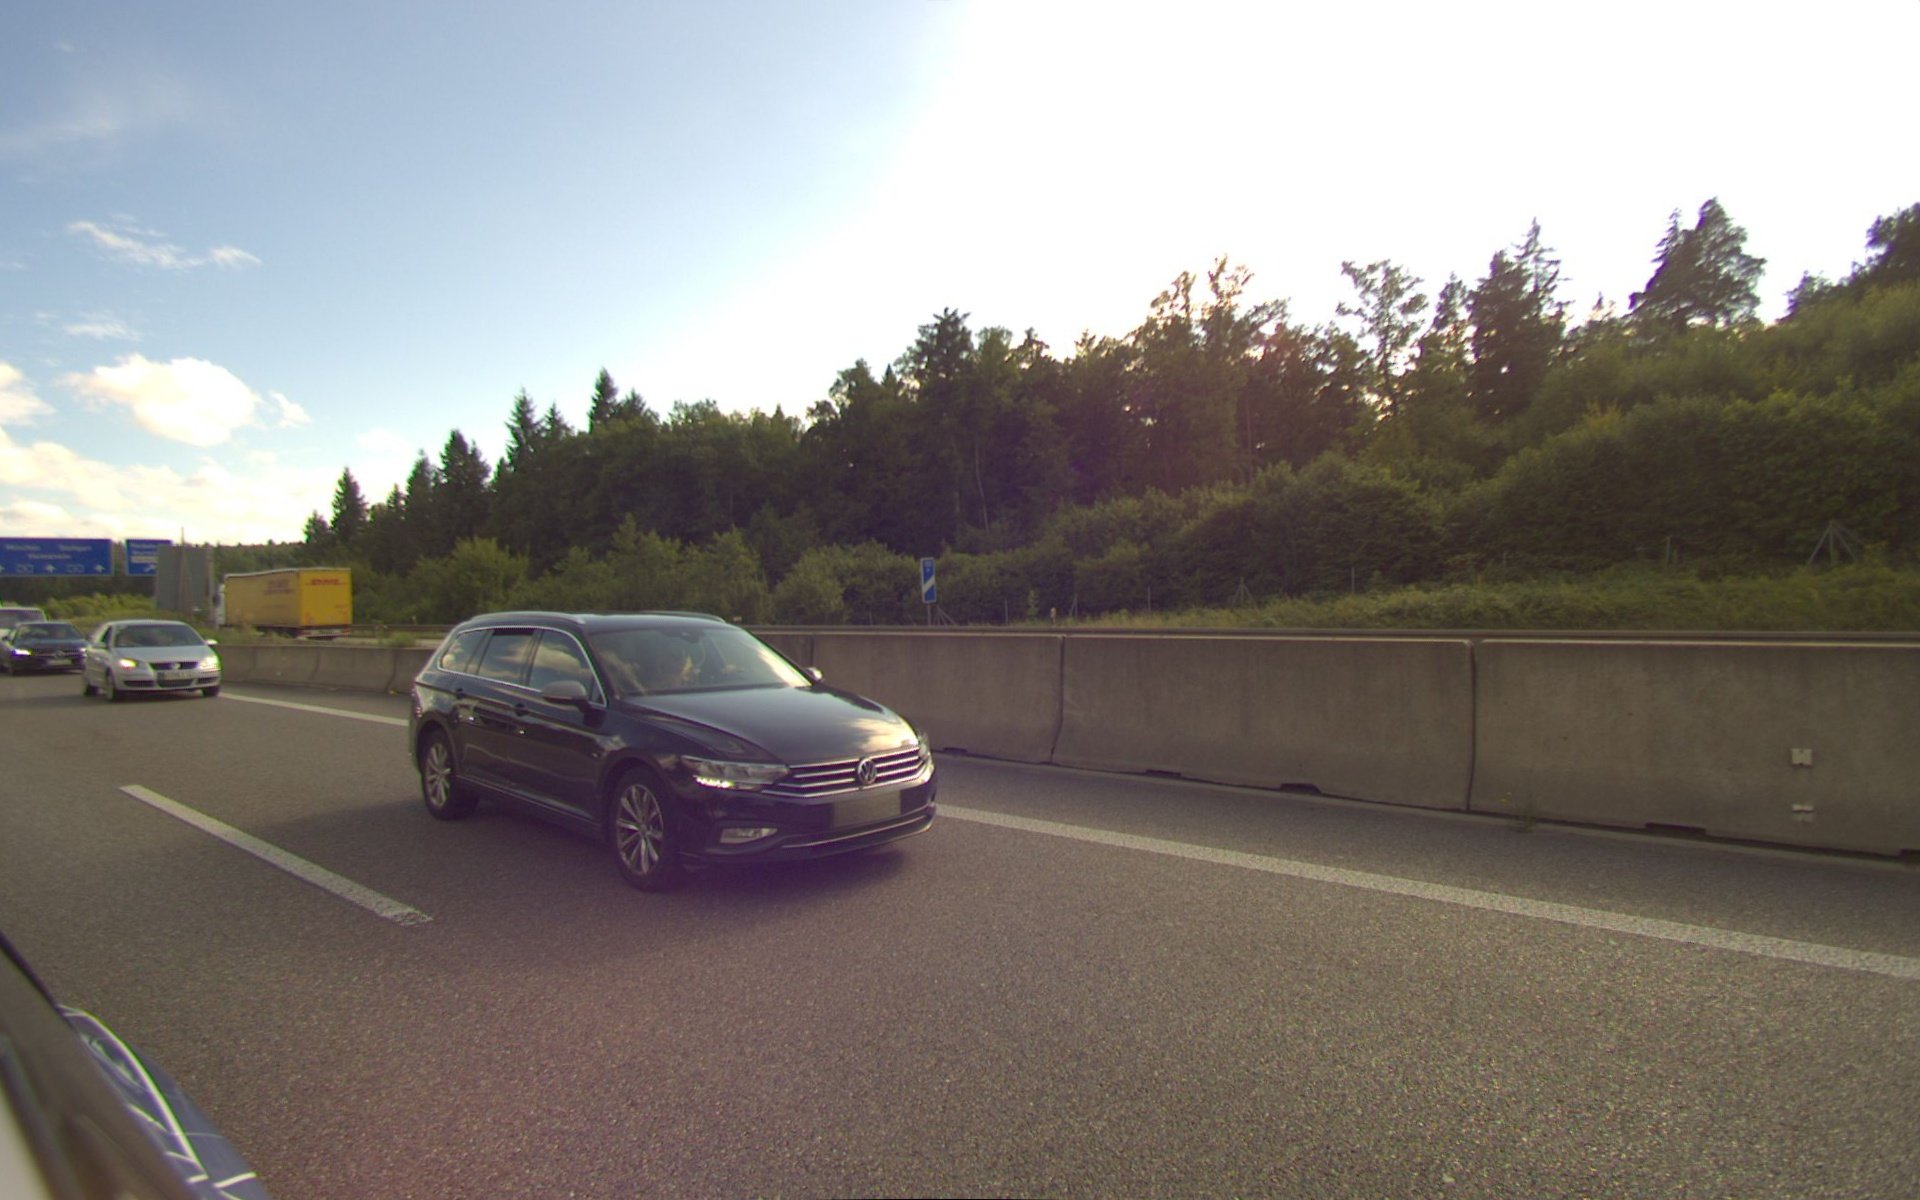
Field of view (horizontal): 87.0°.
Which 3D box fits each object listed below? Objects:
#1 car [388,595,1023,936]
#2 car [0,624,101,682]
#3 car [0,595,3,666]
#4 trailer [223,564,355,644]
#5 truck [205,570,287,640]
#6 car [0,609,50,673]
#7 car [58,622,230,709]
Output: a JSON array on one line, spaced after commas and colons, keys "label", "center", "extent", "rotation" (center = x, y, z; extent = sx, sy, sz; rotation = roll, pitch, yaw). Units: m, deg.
[{"label": "car", "center": [-1.953, 0.765, 6.688], "extent": [4.568, 1.488, 1.890], "rotation": [-1, -1, 43]}, {"label": "car", "center": [-25.441, 1.414, 28.119], "extent": [3.991, 1.442, 1.786], "rotation": [-1, 0, 41]}, {"label": "car", "center": [-37.743, 1.151, 38.016], "extent": [5.858, 2.591, 2.028], "rotation": [-1, -2, 41]}, {"label": "trailer", "center": [-39.384, 0.240, 59.067], "extent": [13.553, 4.234, 2.805], "rotation": [-1, 0, 40]}, {"label": "truck", "center": [-45.287, 0.330, 64.107], "extent": [6.075, 4.234, 2.805], "rotation": [-1, 0, 40]}, {"label": "car", "center": [-31.524, 1.318, 33.187], "extent": [4.845, 1.980, 1.922], "rotation": [-1, 0, 41]}, {"label": "car", "center": [-15.804, 1.171, 19.514], "extent": [4.663, 1.442, 1.786], "rotation": [-1, 0, 41]}]
